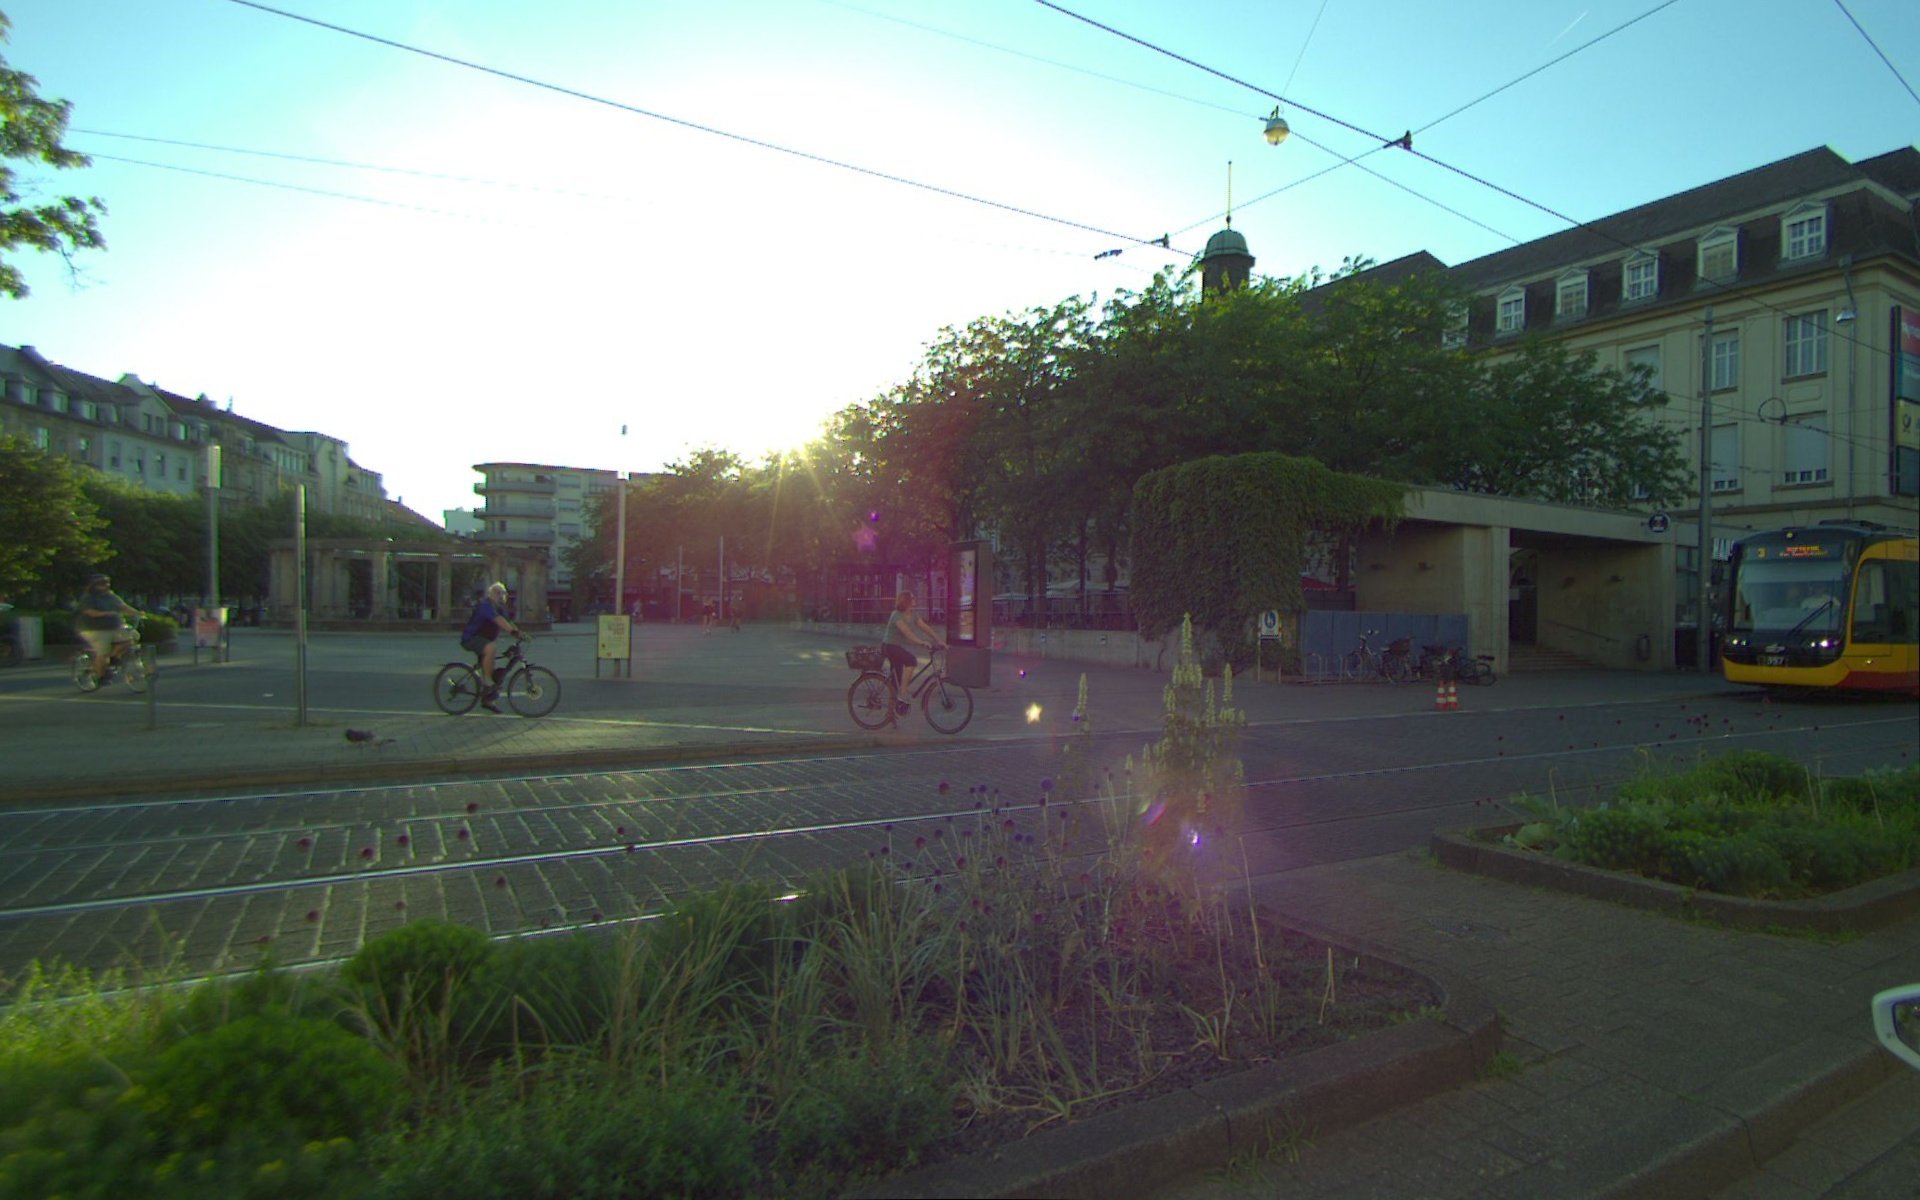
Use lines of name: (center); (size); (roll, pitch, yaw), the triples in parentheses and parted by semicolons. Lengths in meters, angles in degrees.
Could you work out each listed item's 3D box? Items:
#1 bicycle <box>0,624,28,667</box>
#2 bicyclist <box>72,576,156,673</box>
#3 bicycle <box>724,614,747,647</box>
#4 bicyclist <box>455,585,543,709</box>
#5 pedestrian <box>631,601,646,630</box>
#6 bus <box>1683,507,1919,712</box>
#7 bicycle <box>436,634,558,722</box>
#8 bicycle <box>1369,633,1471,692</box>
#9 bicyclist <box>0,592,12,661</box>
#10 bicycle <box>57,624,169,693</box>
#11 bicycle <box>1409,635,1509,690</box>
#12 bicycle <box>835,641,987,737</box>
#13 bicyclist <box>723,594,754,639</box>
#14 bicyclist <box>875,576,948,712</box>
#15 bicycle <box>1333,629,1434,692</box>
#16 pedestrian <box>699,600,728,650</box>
bicycle: (-21.565, 0.980, 22.218); (1.400, 0.927, 0.425); (2, -2, -2)
bicyclist: (-14.389, 0.417, 17.098); (0.688, 1.597, 0.755); (2, -2, 12)
bicycle: (-10.422, 1.411, 46.619); (0.572, 1.495, 2.235); (2, -2, -24)
bicyclist: (-6.303, 0.645, 13.755); (0.788, 1.632, 0.738); (-1, -3, 29)
pedestrian: (-20.621, 0.989, 64.362); (0.758, 1.801, 0.570); (1, 0, -39)
bus: (22.778, 0.370, 23.628); (16.872, 3.699, 2.809); (2, -1, -30)
bicycle: (-6.366, 1.038, 13.782); (1.893, 1.126, 0.460); (0, -2, 29)
bicycle: (10.756, 1.444, 23.567); (0.573, 1.271, 2.231); (3, -2, -29)
bicyclist: (-21.641, 0.582, 22.233); (0.644, 1.540, 0.677); (1, 0, -3)
bicycle: (-14.386, 0.979, 17.062); (1.676, 1.126, 0.496); (0, -2, 12)
bicycle: (12.126, 1.492, 24.497); (0.578, 1.248, 2.231); (2, -2, -29)
bicycle: (-0.644, 1.129, 13.011); (1.898, 1.126, 0.461); (1, -2, 20)
bicyclist: (-10.238, 0.766, 46.405); (1.127, 2.045, 0.956); (3, -2, -25)
bicyclist: (-0.618, 0.566, 13.020); (0.691, 1.690, 0.628); (2, -2, 21)
bicycle: (9.522, 1.339, 22.687); (0.573, 1.317, 2.187); (3, -2, -29)
pedestrian: (-10.622, 1.062, 43.224); (0.922, 2.088, 0.931); (1, 0, -35)
